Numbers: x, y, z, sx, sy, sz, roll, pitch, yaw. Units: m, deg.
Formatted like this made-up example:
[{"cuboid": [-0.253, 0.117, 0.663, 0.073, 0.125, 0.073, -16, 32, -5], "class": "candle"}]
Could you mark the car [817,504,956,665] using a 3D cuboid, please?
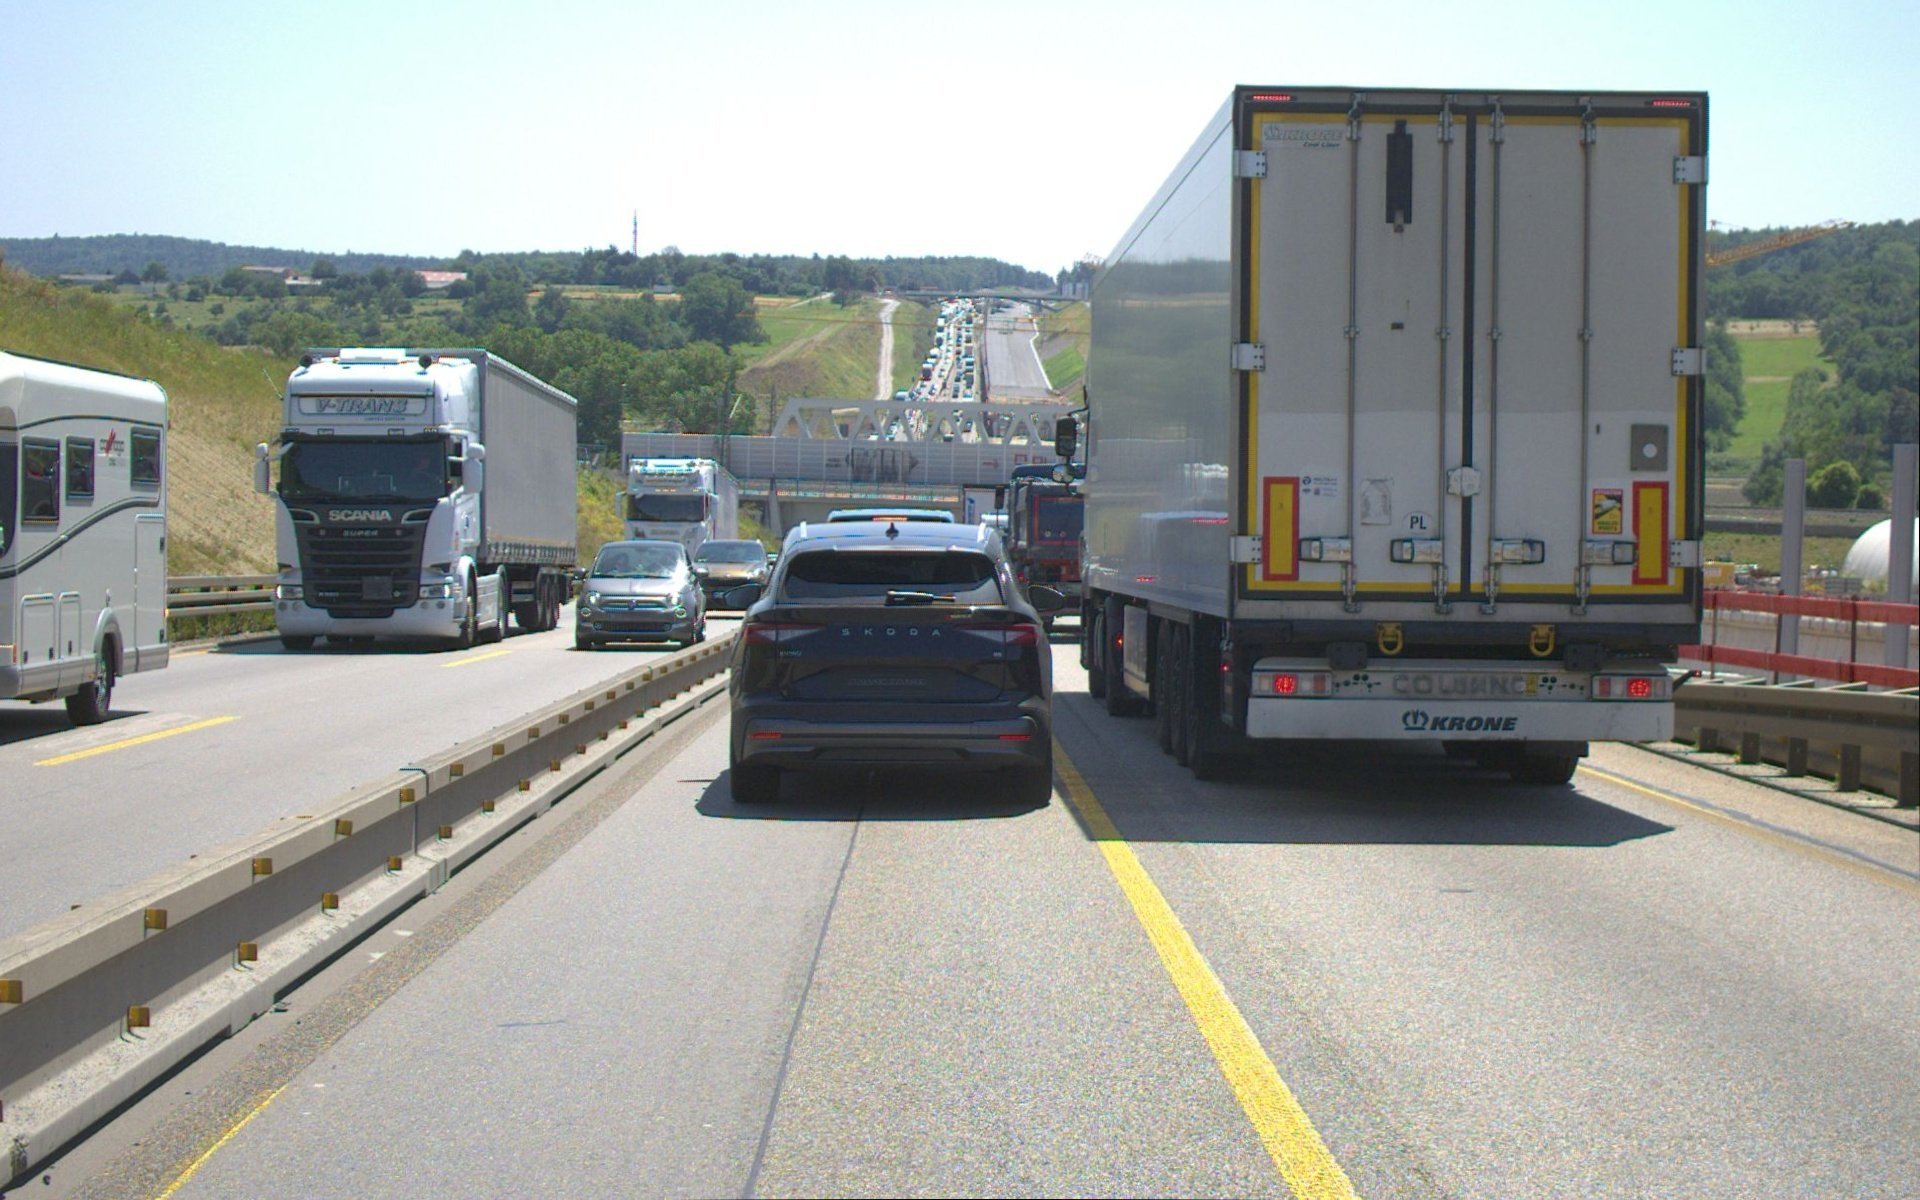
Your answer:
[{"cuboid": [-0.834, -0.213, 40.658, 1.475, 1.789, 3.297, 1, 1, 1], "class": "car"}]

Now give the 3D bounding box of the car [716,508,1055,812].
[{"cuboid": [-0.412, 0.286, 20.115, 1.800, 1.615, 3.298, 1, 1, 0], "class": "car"}]

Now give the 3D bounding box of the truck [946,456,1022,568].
[{"cuboid": [0.865, -3.279, 128.608, 2.517, 3.946, 7.600, 2, 1, -1], "class": "truck"}]

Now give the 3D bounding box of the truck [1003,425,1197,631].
[{"cuboid": [2.219, -1.163, 58.925, 2.814, 3.124, 12.838, 1, 1, 0], "class": "truck"}]

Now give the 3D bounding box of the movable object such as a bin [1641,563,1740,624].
[{"cuboid": [36.223, -0.352, 170.749, 2.887, 2.899, 9.479, 1, 1, 0], "class": "movable object such as a bin"}]

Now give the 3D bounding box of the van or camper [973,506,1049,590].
[{"cuboid": [1.401, -1.474, 96.558, 1.993, 2.237, 4.000, 2, 1, 0], "class": "van or camper"}]

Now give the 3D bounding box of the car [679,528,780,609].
[{"cuboid": [-4.698, -0.671, 70.486, 1.848, 1.581, 4.174, 1, 1, -1], "class": "car"}]

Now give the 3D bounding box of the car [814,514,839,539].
[{"cuboid": [-9.905, -5.468, 254.999, 1.732, 1.787, 3.581, 1, 1, -1], "class": "car"}]

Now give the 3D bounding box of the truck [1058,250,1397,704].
[{"cuboid": [2.470, -1.120, 33.298, 2.776, 4.044, 4.905, 1, 0, -1], "class": "truck"}]

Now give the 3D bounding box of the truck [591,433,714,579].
[{"cuboid": [-8.932, -2.714, 100.396, 3.239, 4.145, 4.247, 1, 1, -1], "class": "truck"}]

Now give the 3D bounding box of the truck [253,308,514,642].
[{"cuboid": [-7.765, -1.657, 46.810, 2.774, 4.272, 4.677, 1, 1, -1], "class": "truck"}]

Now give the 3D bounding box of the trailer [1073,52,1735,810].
[{"cuboid": [2.619, -0.960, 25.531, 2.801, 4.044, 14.117, 1, 0, -1], "class": "trailer"}]

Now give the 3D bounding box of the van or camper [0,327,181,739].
[{"cuboid": [-7.647, -0.505, 25.059, 2.334, 2.768, 7.518, 1, 1, -1], "class": "van or camper"}]

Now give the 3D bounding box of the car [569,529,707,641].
[{"cuboid": [-4.429, -0.232, 47.644, 1.628, 1.474, 3.380, 1, 1, -1], "class": "car"}]

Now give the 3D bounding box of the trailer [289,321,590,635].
[{"cuboid": [-7.927, -1.813, 54.376, 2.810, 4.272, 14.036, 1, 1, -1], "class": "trailer"}]

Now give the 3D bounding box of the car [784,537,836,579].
[{"cuboid": [-5.948, -1.676, 136.721, 1.812, 1.632, 4.362, 0, 1, 0], "class": "car"}]
